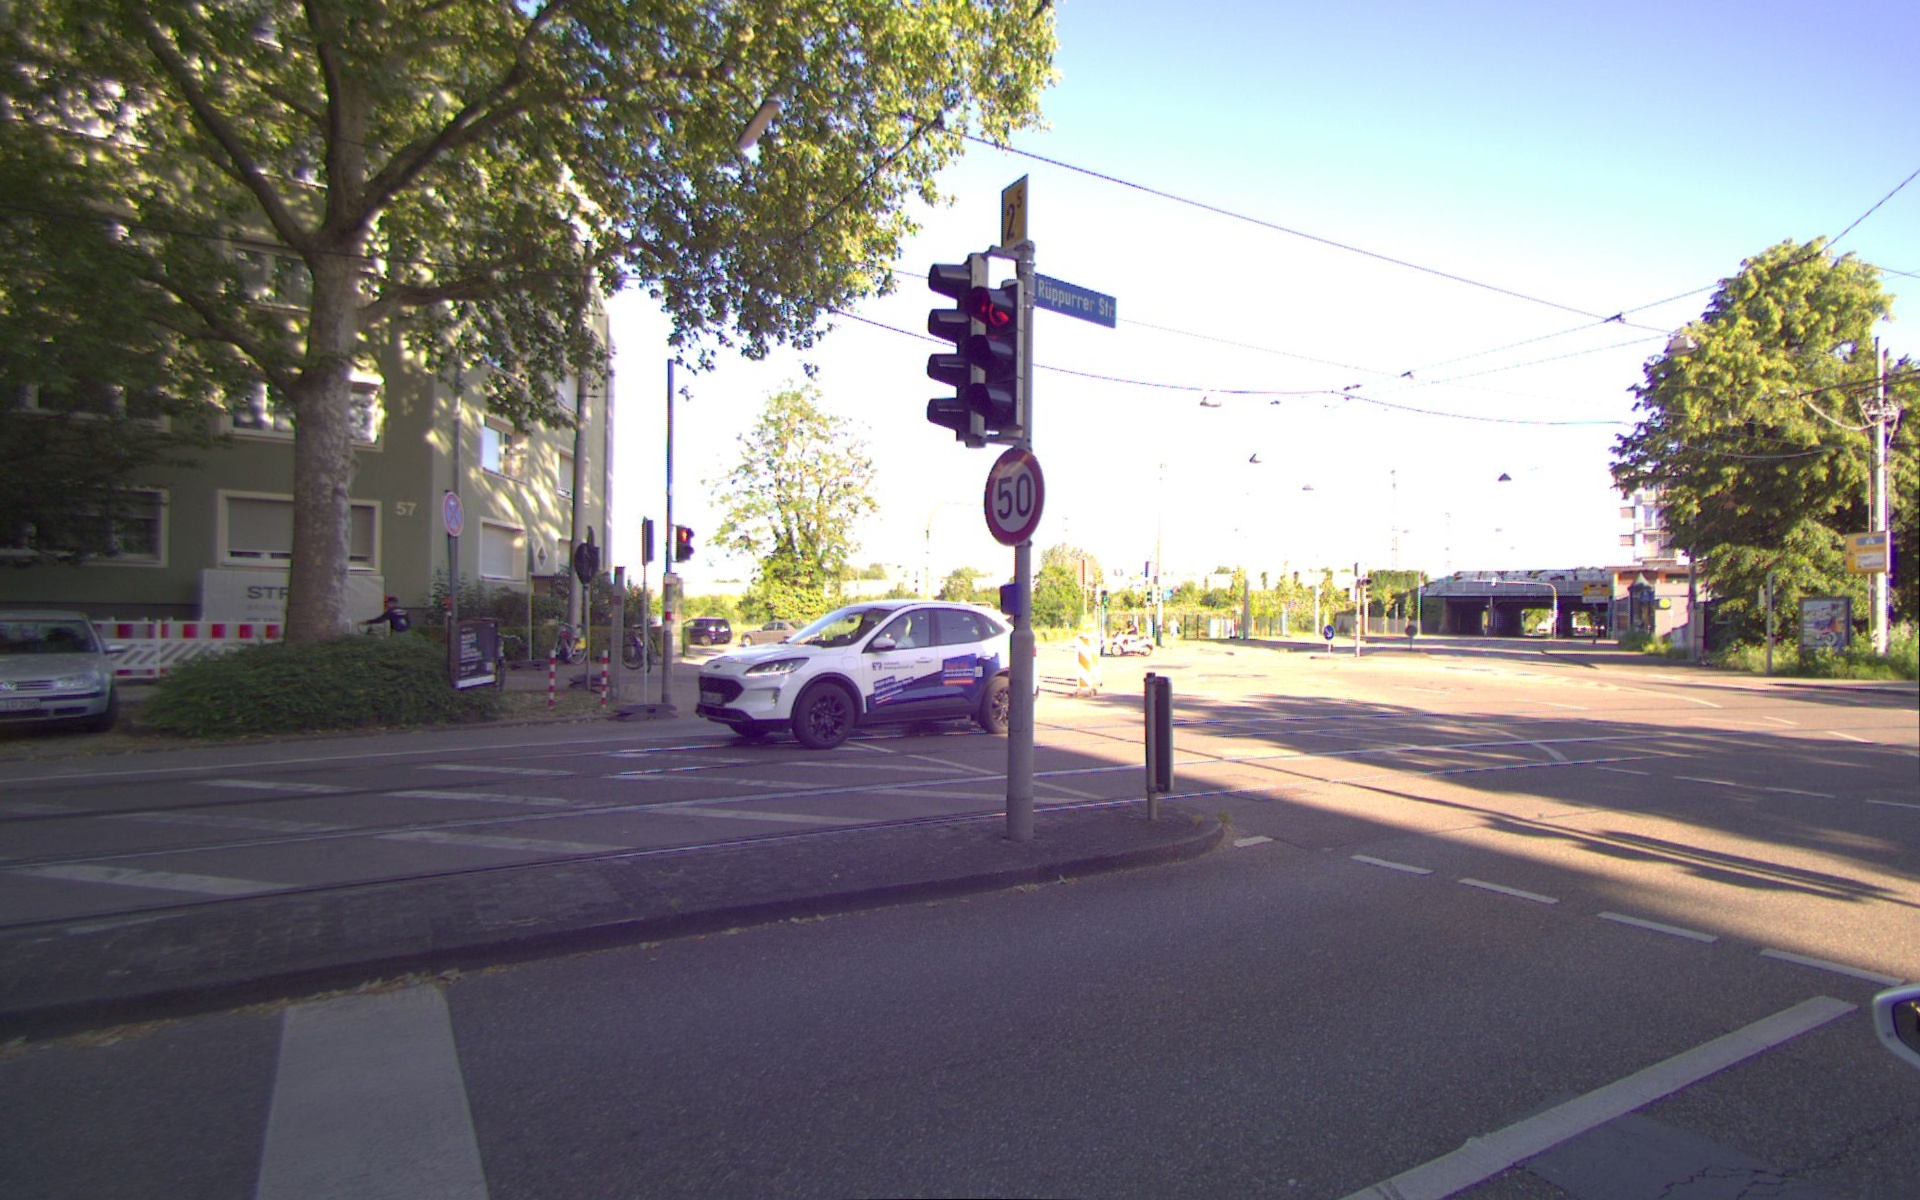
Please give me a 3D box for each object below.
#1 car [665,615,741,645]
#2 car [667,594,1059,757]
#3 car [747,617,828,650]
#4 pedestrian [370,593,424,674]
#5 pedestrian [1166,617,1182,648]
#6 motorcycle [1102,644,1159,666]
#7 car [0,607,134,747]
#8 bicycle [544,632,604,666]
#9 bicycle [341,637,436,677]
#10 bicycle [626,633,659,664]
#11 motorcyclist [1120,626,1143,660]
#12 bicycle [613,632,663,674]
[{"bbox_3d":[-14.512,1.666,56.612,3.930,1.439,1.889,1,5,32],"label":"car"},{"bbox_3d":[-1.039,0.820,12.446,4.597,1.653,1.975,2,-1,-43],"label":"car"},{"bbox_3d":[-9.145,1.731,53.111,3.930,1.439,1.889,1,5,32],"label":"car"},{"bbox_3d":[-11.342,0.674,20.241,0.591,1.589,0.741,0,-1,30],"label":"pedestrian"},{"bbox_3d":[11.099,1.684,52.126,0.591,1.617,0.683,2,0,32],"label":"pedestrian"},{"bbox_3d":[7.492,2.405,44.157,2.302,0.882,0.731,2,0,-10],"label":"motorcycle"},{"bbox_3d":[-11.544,0.862,12.602,1.689,1.436,3.955,3,-1,-38],"label":"car"},{"bbox_3d":[-9.348,1.174,24.391,0.351,0.769,1.781,1,-1,15],"label":"bicycle"},{"bbox_3d":[-11.785,1.170,20.773,0.352,0.769,1.777,0,-1,30],"label":"bicycle"},{"bbox_3d":[-8.372,1.267,26.555,0.351,0.769,1.780,1,-1,-2],"label":"bicycle"},{"bbox_3d":[7.555,1.880,44.212,0.781,1.452,0.713,2,0,-9],"label":"motorcyclist"},{"bbox_3d":[-7.539,1.220,23.473,0.356,0.900,1.757,2,-1,-44],"label":"bicycle"}]
